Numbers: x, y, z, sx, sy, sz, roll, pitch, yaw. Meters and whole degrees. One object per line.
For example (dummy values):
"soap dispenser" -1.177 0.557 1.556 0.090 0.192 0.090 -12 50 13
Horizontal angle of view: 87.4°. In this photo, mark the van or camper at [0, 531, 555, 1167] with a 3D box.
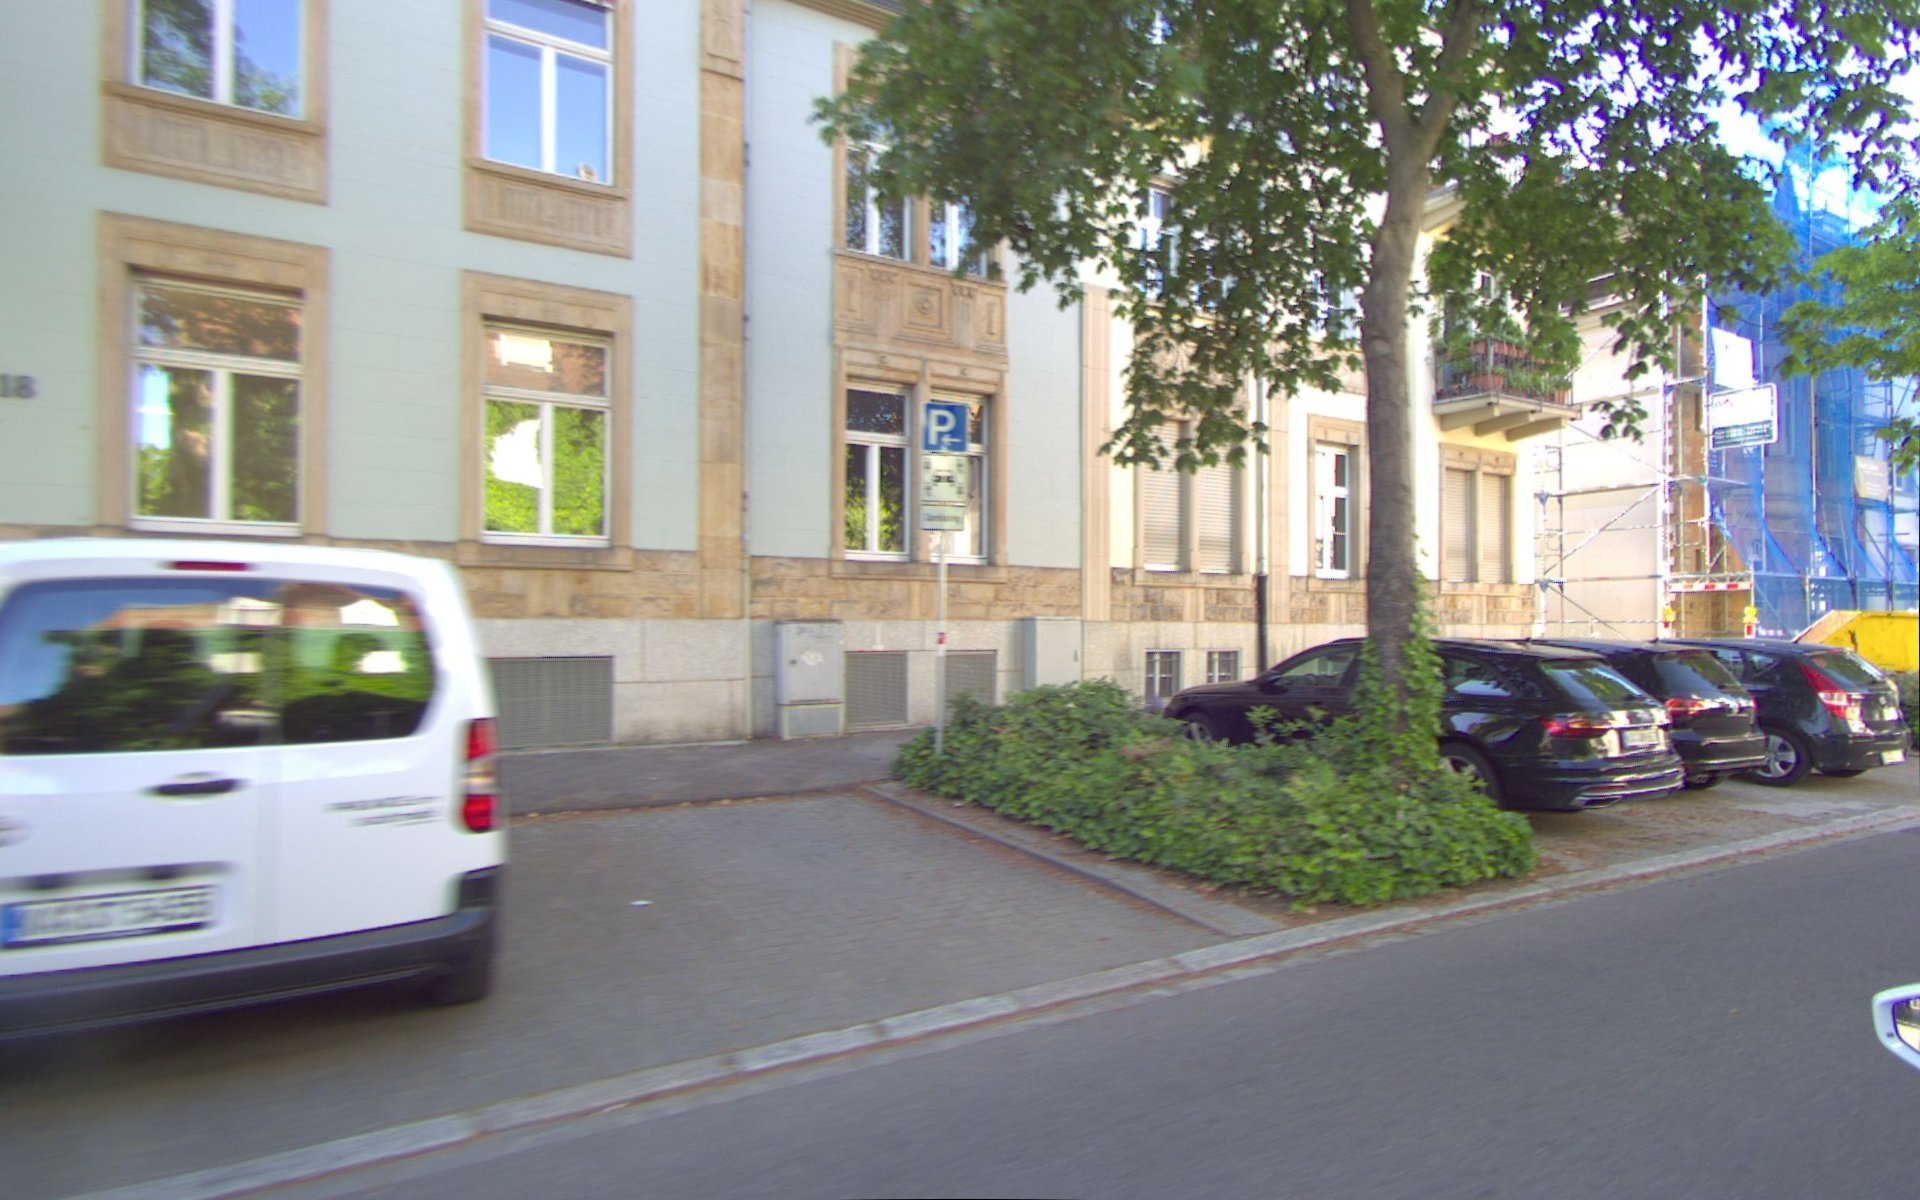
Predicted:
"van or camper" -3.191 0.737 4.842 1.788 1.797 3.925 0 -1 -30

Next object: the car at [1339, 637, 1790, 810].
"car" 6.041 1.137 10.512 1.626 1.449 3.732 1 -3 -29

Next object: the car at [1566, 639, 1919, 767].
"car" 10.419 1.272 13.492 1.674 1.467 3.536 1 -3 -28

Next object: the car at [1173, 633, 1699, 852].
"car" 3.954 1.046 9.101 1.689 1.419 4.121 1 -1 -29

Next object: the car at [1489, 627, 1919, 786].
"car" 8.353 1.099 11.522 1.693 1.484 3.712 0 -3 -28
